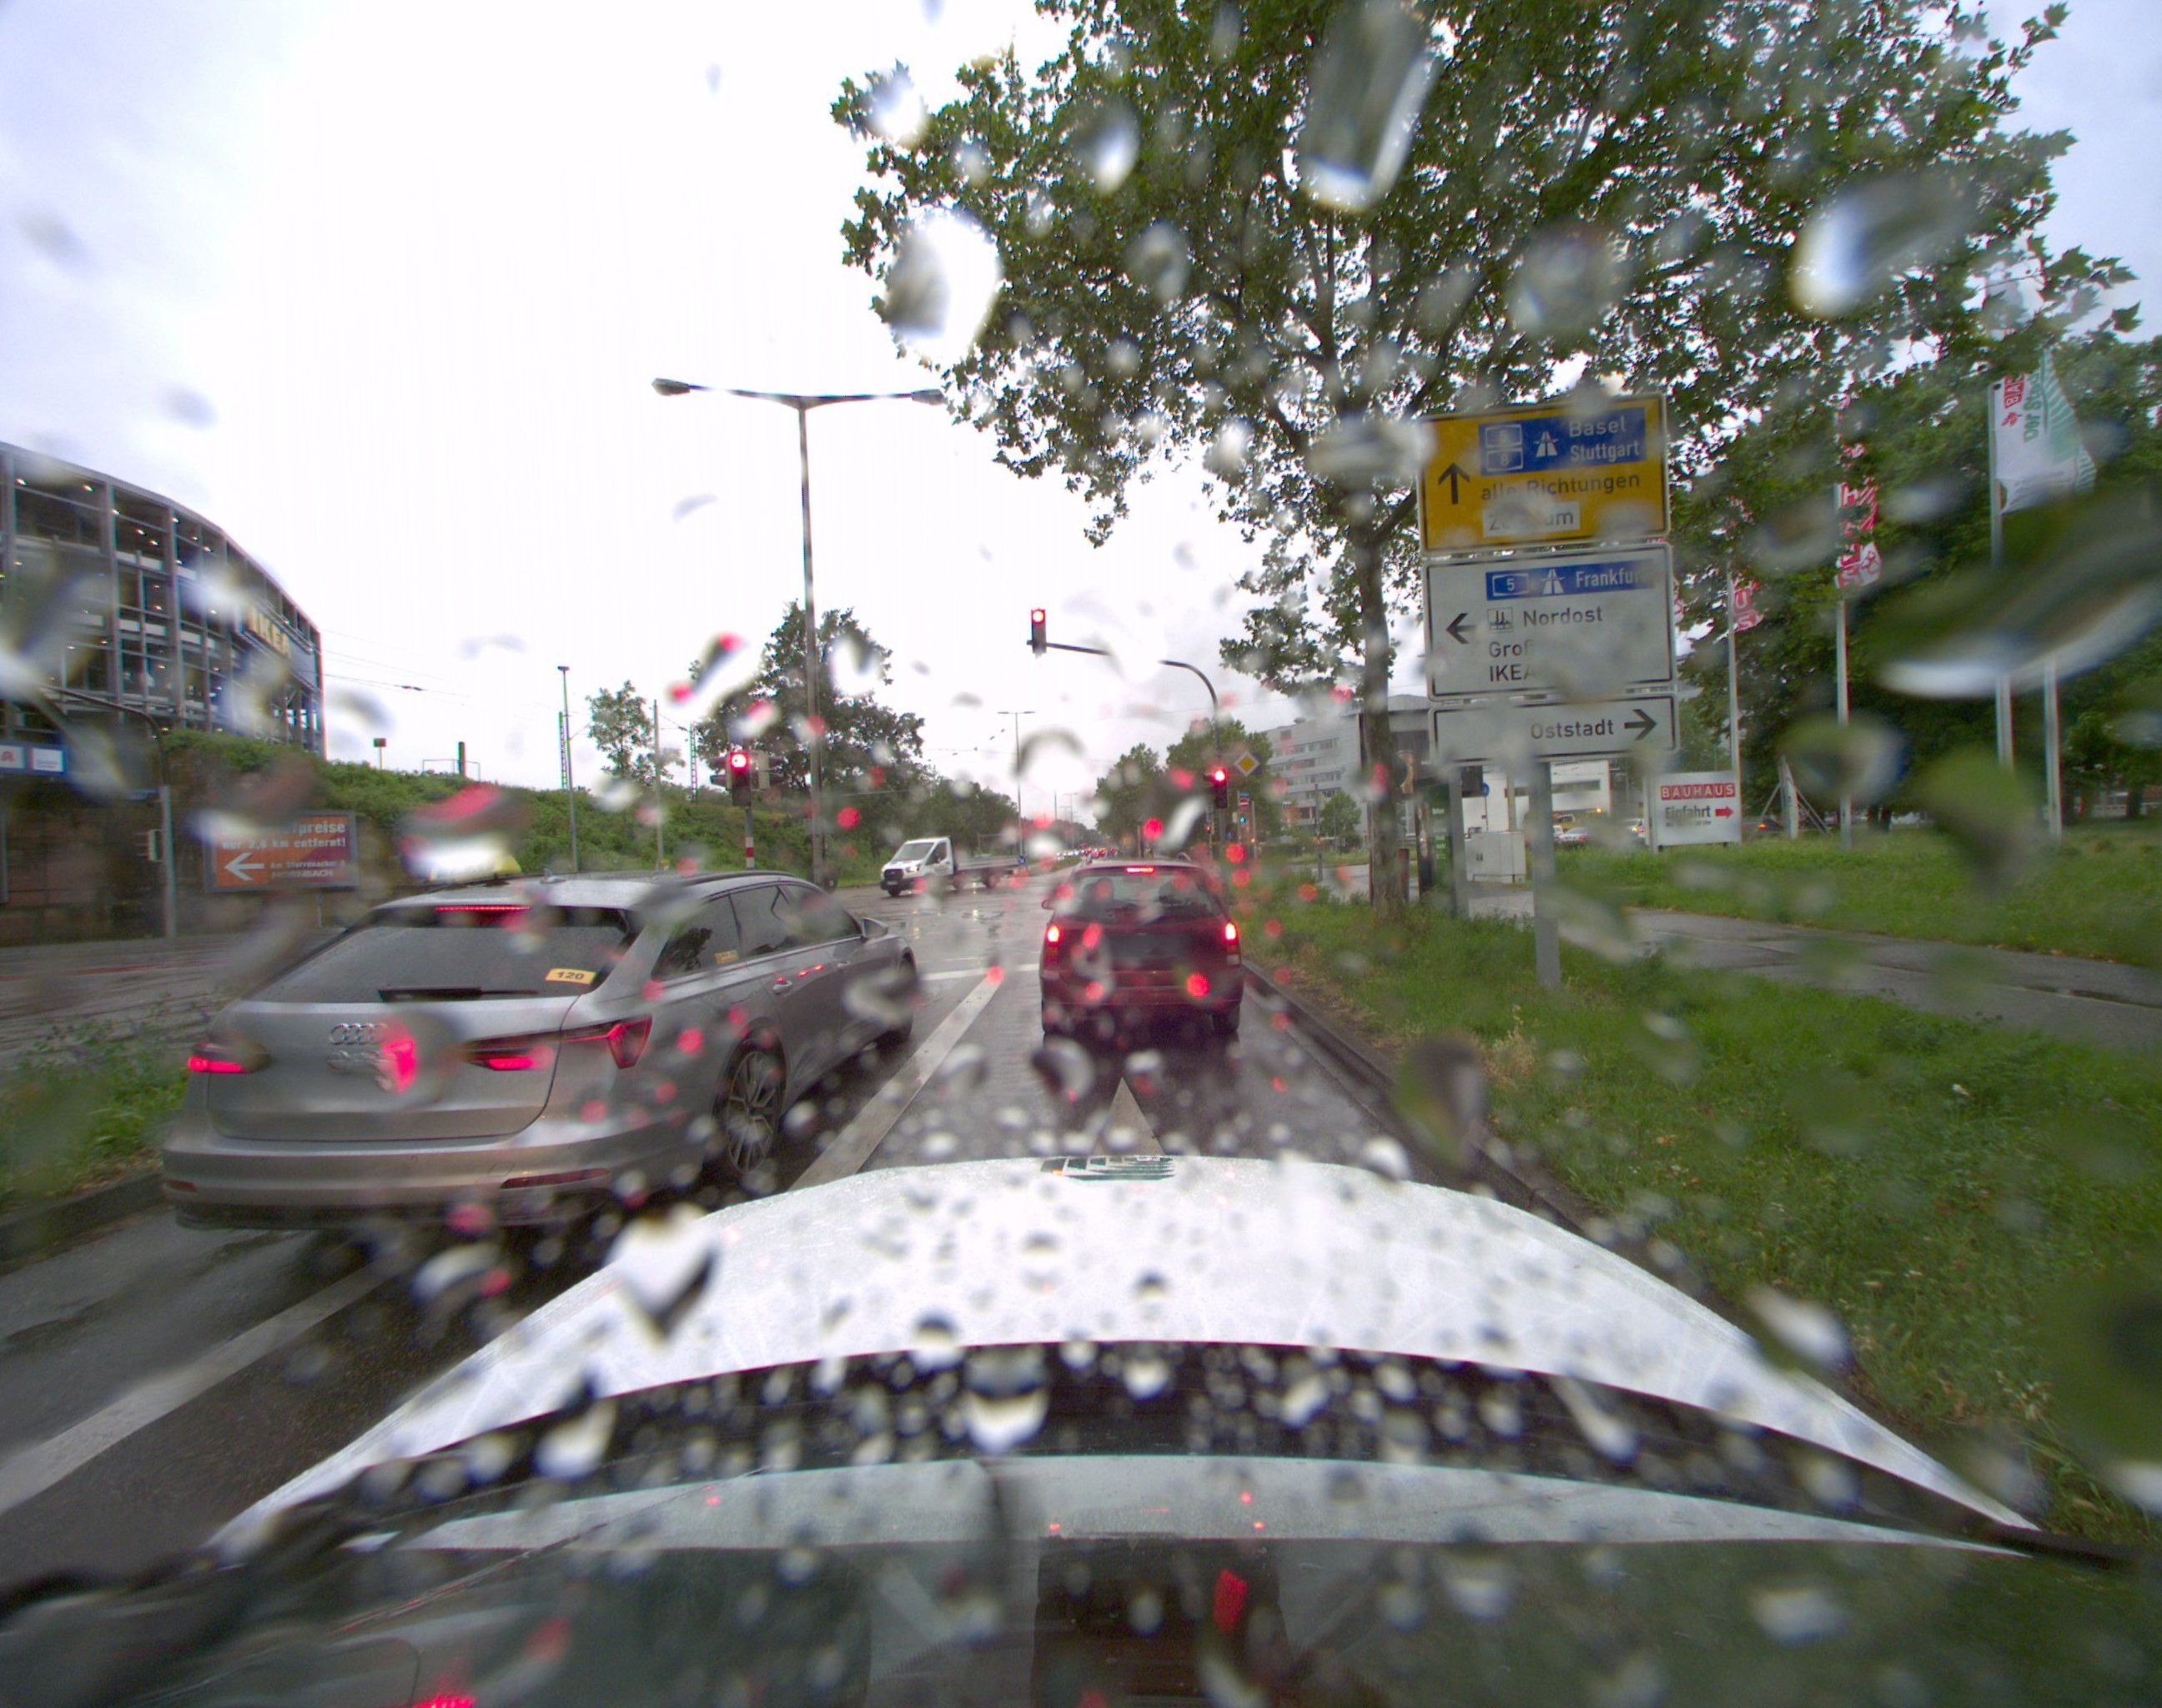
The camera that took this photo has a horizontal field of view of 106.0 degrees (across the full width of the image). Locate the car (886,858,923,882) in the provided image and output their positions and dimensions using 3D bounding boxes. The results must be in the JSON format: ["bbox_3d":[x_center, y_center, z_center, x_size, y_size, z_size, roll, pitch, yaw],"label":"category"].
[{"bbox_3d":[-11.975,1.059,55.563,1.633,1.452,3.786,-3,0,0],"label":"car"}]

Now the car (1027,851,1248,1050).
[{"bbox_3d":[0.451,0.710,7.925,1.636,1.465,3.733,0,0,1],"label":"car"}]

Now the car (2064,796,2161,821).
[{"bbox_3d":[88.541,-3.883,69.322,2.286,1.731,5.899,-3,0,-33],"label":"car"}]

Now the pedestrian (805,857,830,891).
[{"bbox_3d":[-14.949,1.101,46.216,1.102,1.847,1.126,-3,0,-10],"label":"pedestrian"}]

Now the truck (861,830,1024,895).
[{"bbox_3d":[-5.495,0.269,33.586,2.450,2.365,6.912,-3,0,34],"label":"truck"}]

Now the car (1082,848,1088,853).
[{"bbox_3d":[1.177,-0.988,245.264,1.691,1.528,3.849,-3,0,3],"label":"car"}]

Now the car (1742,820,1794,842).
[{"bbox_3d":[54.794,-1.823,64.939,4.645,1.586,1.907,-2,-1,-34],"label":"car"}]

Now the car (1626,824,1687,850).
[{"bbox_3d":[39.839,-1.161,56.341,4.644,1.586,1.907,-2,0,-34],"label":"car"}]

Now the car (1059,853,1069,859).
[{"bbox_3d":[-4.657,0.628,223.457,2.084,1.528,4.197,-3,0,4],"label":"car"}]

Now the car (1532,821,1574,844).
[{"bbox_3d":[45.995,-2.079,79.376,4.018,2.013,1.978,-3,0,-36],"label":"car"}]

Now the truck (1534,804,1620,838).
[{"bbox_3d":[57.974,-3.813,95.394,3.342,3.507,7.806,-3,0,-33],"label":"truck"}]

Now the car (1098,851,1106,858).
[{"bbox_3d":[5.055,0.099,194.340,1.691,1.528,3.849,-3,0,3],"label":"car"}]

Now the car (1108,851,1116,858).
[{"bbox_3d":[7.037,0.080,187.211,1.664,1.528,3.849,-3,0,3],"label":"car"}]

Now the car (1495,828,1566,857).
[{"bbox_3d":[24.724,-0.650,44.801,3.828,1.491,1.662,-2,0,-30],"label":"car"}]

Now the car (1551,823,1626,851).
[{"bbox_3d":[30.815,-1.045,49.372,4.847,1.491,1.908,-2,-1,-32],"label":"car"}]

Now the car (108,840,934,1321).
[{"bbox_3d":[-2.283,0.736,5.099,1.763,1.574,4.822,0,0,1],"label":"car"}]

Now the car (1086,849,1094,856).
[{"bbox_3d":[2.193,-0.346,202.624,1.691,1.528,3.849,-3,0,3],"label":"car"}]

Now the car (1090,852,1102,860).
[{"bbox_3d":[2.921,0.333,158.393,2.138,1.528,4.197,-3,0,4],"label":"car"}]
